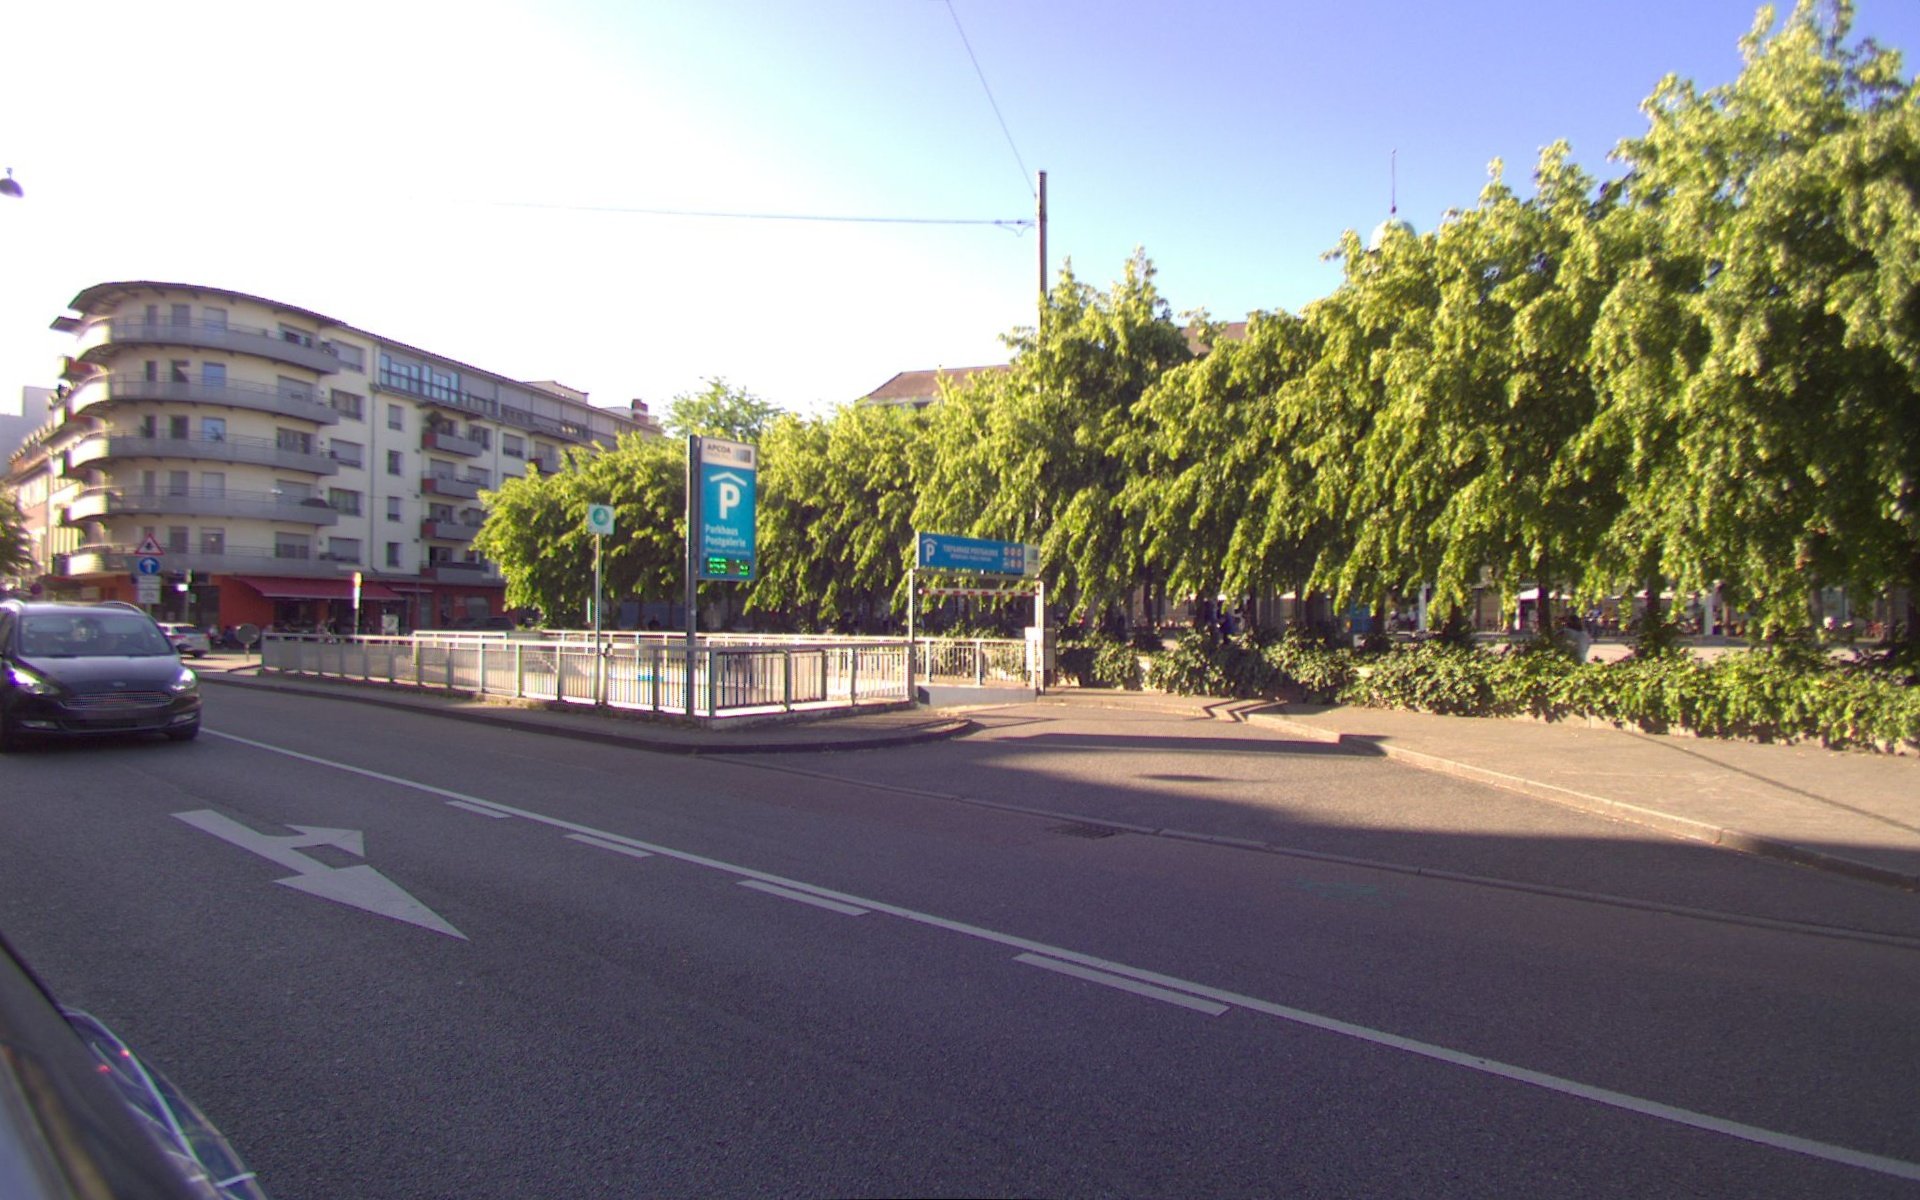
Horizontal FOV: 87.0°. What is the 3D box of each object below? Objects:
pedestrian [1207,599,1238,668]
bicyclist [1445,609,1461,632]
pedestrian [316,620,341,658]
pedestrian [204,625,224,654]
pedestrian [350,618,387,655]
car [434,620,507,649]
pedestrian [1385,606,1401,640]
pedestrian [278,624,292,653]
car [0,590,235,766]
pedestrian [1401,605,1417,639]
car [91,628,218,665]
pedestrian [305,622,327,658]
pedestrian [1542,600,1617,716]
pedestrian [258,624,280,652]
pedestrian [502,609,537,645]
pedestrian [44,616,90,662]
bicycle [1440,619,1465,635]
[{"bbox_3d":[6.513,0.824,25.143,0.672,1.683,0.843,-1,-1,13],"label":"pedestrian"},{"bbox_3d":[30.836,1.300,63.316,0.687,1.439,0.675,0,-1,-38],"label":"bicyclist"},{"bbox_3d":[-31.334,1.929,50.187,0.748,1.819,0.753,-1,-1,7],"label":"pedestrian"},{"bbox_3d":[-37.724,1.986,51.205,0.780,1.472,0.583,0,-1,-40],"label":"pedestrian"},{"bbox_3d":[-32.549,2.001,55.695,1.251,2.029,1.226,-1,-1,19],"label":"pedestrian"},{"bbox_3d":[-30.512,2.127,63.207,1.983,1.763,3.977,-1,-1,17],"label":"car"},{"bbox_3d":[25.426,1.337,59.396,0.751,1.948,0.938,-1,-1,20],"label":"pedestrian"},{"bbox_3d":[-35.301,2.018,52.895,0.573,1.501,0.794,0,-1,-36],"label":"pedestrian"},{"bbox_3d":[-10.926,0.851,12.593,4.724,1.785,1.973,-1,-2,40],"label":"car"},{"bbox_3d":[26.362,1.286,59.417,0.751,1.948,0.938,-1,-1,20],"label":"pedestrian"},{"bbox_3d":[-33.223,1.913,41.788,4.205,1.445,1.798,-1,-1,10],"label":"car"},{"bbox_3d":[-31.500,1.956,49.518,0.697,1.719,0.667,-1,-1,33],"label":"pedestrian"},{"bbox_3d":[9.780,0.894,15.979,0.885,1.771,0.738,0,-1,-39],"label":"pedestrian"},{"bbox_3d":[-36.722,2.023,53.775,0.782,1.473,0.582,0,-1,3],"label":"pedestrian"},{"bbox_3d":[-25.136,1.529,57.734,1.288,2.029,1.308,-1,-1,24],"label":"pedestrian"},{"bbox_3d":[-40.742,1.756,46.198,1.008,2.029,1.198,-1,0,4],"label":"pedestrian"},{"bbox_3d":[30.795,1.661,63.293,1.875,0.961,0.590,0,-1,-37],"label":"bicycle"}]
